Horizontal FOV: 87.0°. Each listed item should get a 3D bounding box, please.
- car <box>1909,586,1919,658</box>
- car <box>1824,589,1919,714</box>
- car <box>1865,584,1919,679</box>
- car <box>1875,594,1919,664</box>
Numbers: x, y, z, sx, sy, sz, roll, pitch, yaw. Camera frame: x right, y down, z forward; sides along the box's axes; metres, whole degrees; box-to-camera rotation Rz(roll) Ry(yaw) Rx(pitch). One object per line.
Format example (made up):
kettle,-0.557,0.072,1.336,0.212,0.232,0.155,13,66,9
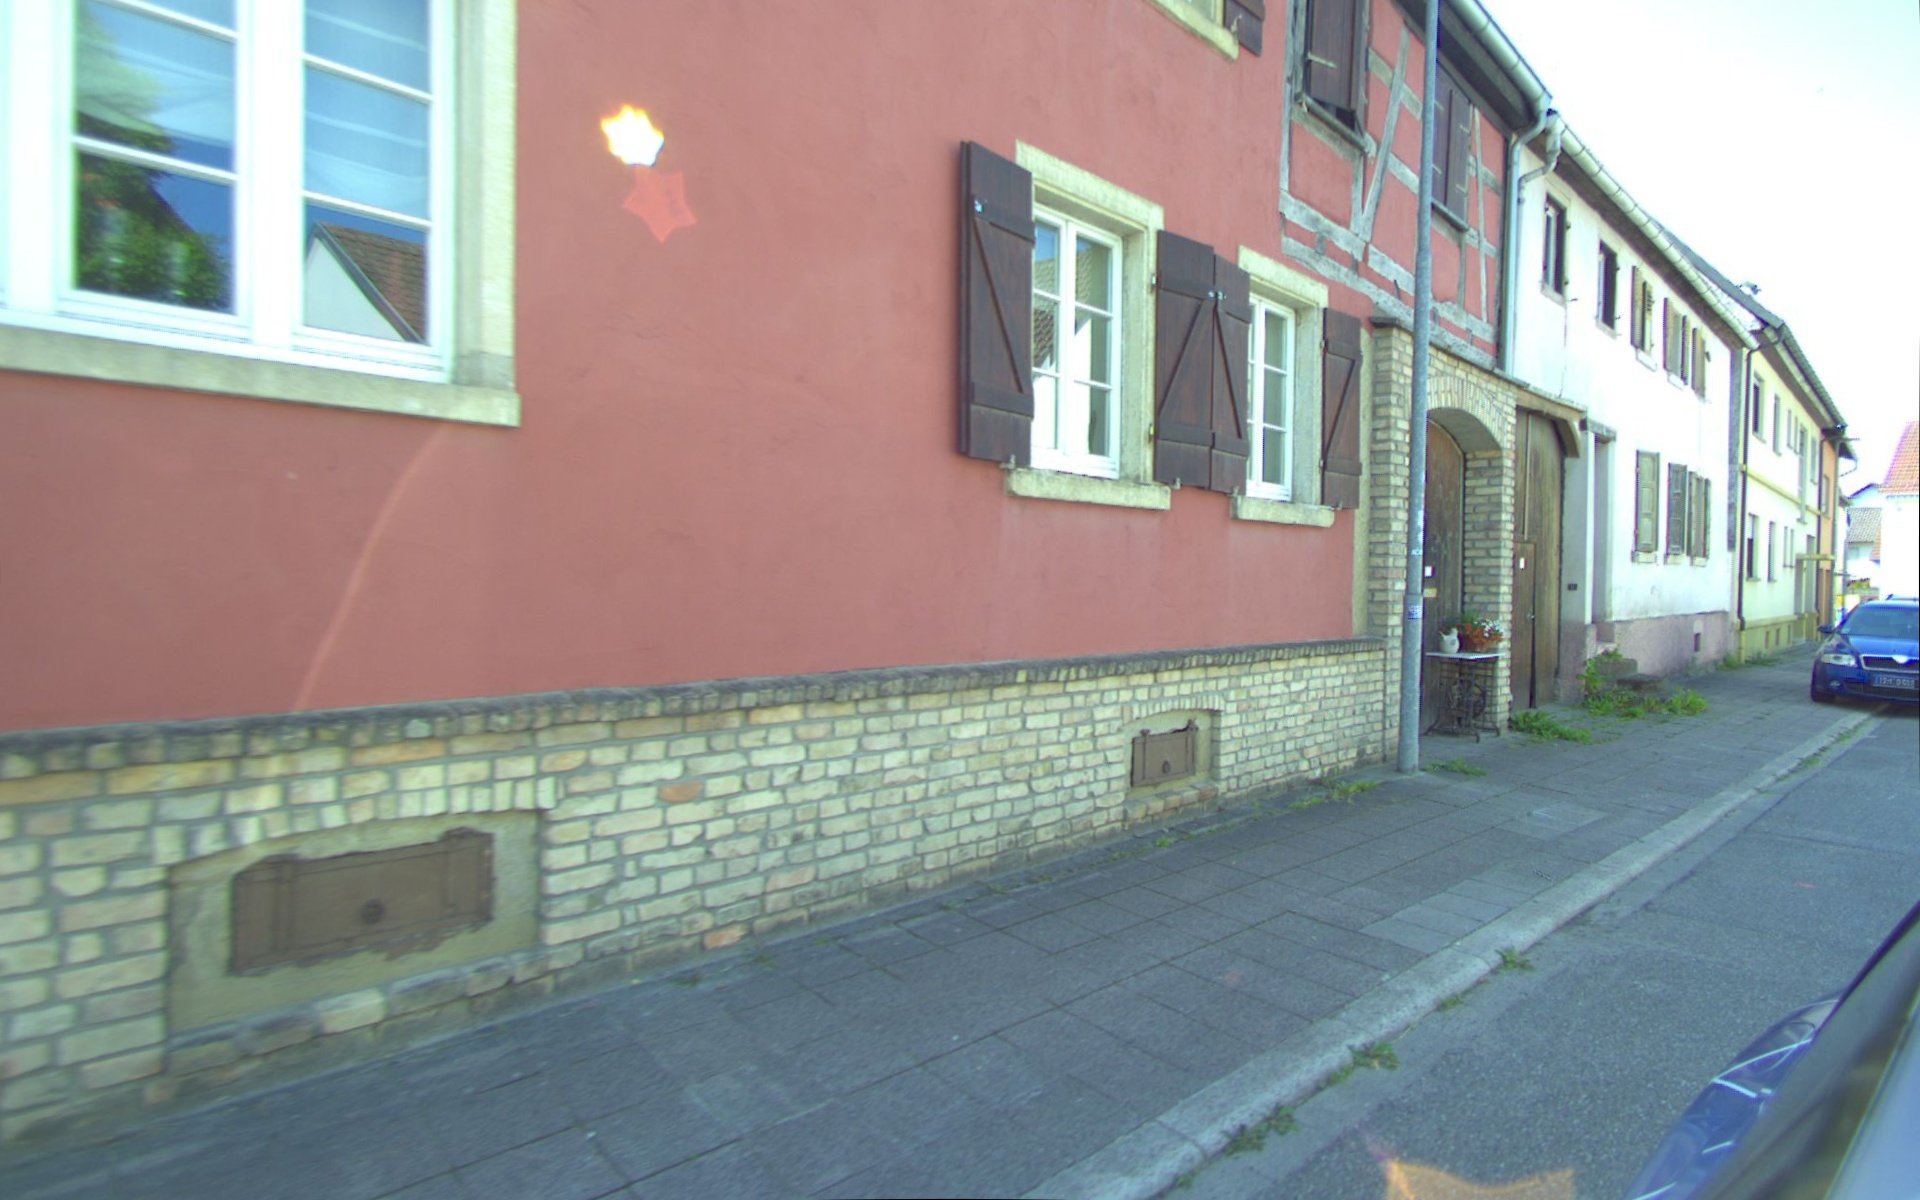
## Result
car,25.460,0.537,25.553,4.177,1.749,1.901,0,1,-43
car,13.204,0.624,13.873,4.338,1.487,1.700,0,3,-45
car,18.023,0.553,18.644,3.961,1.603,1.701,0,3,-44
car,21.644,0.625,22.510,3.657,1.456,1.553,0,3,-43
